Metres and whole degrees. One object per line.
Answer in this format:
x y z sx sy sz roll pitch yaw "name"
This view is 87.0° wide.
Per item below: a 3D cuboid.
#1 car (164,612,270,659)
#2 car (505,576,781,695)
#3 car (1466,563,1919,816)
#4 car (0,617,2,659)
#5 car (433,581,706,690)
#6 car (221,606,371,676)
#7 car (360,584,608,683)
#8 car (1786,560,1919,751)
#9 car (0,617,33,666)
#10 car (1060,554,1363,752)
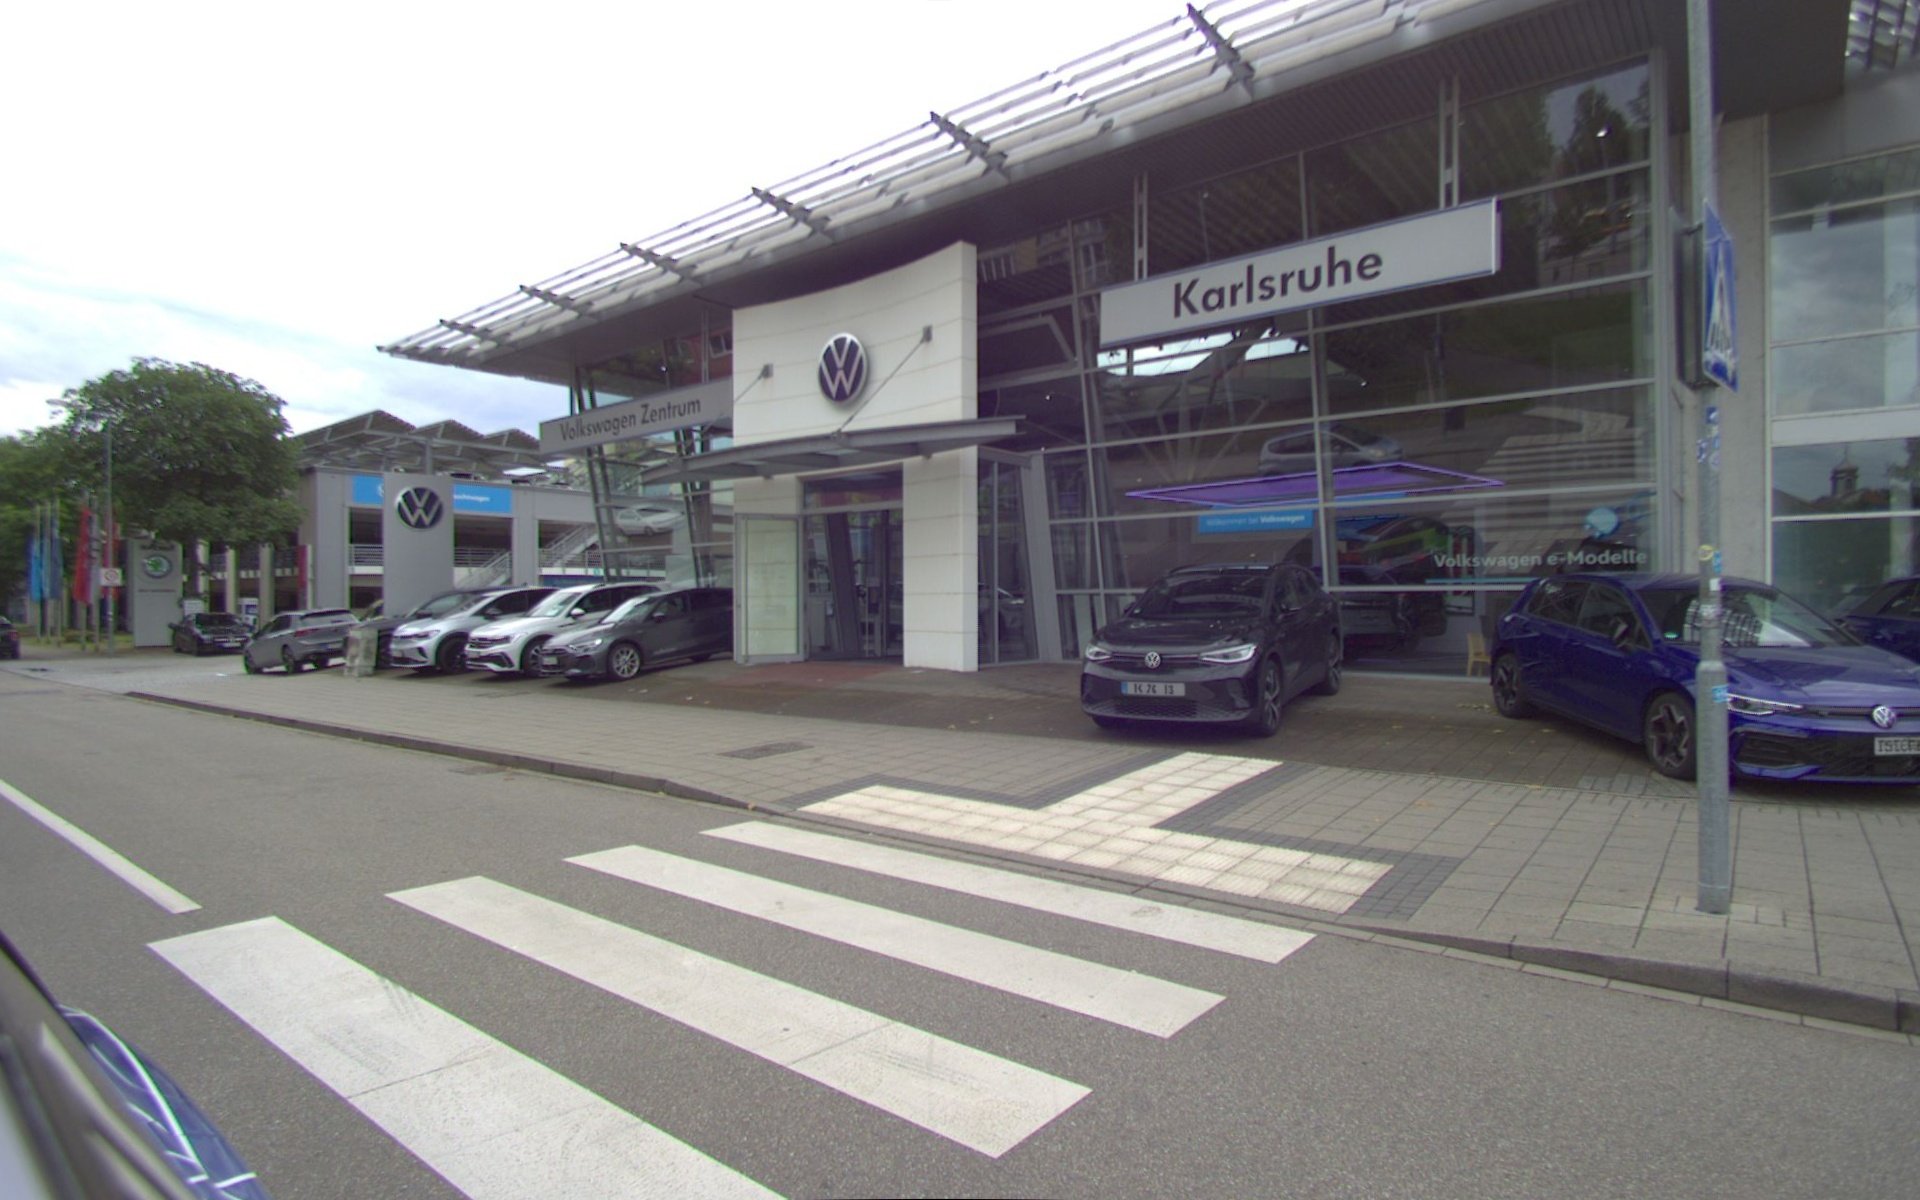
-26.721 1.228 36.350 4.468 1.559 1.875 0 1 37 "car"
-5.575 0.545 18.325 1.895 1.709 4.419 -2 2 38 "car"
6.060 0.476 8.330 1.834 1.515 4.334 -1 2 4 "car"
-39.407 1.508 39.774 4.468 1.636 1.838 0 1 37 "car"
-7.604 0.603 20.150 1.859 1.712 4.714 -2 2 39 "car"
-16.706 1.002 25.404 4.007 1.575 1.896 -2 0 37 "car"
-10.140 0.634 21.845 1.868 1.712 4.418 -2 2 39 "car"
8.799 0.455 7.685 1.878 1.574 4.213 0 0 6 "car"
-34.854 1.462 36.120 4.468 1.636 1.838 0 1 37 "car"
2.974 0.397 11.136 1.855 1.644 4.460 -2 2 33 "car"
